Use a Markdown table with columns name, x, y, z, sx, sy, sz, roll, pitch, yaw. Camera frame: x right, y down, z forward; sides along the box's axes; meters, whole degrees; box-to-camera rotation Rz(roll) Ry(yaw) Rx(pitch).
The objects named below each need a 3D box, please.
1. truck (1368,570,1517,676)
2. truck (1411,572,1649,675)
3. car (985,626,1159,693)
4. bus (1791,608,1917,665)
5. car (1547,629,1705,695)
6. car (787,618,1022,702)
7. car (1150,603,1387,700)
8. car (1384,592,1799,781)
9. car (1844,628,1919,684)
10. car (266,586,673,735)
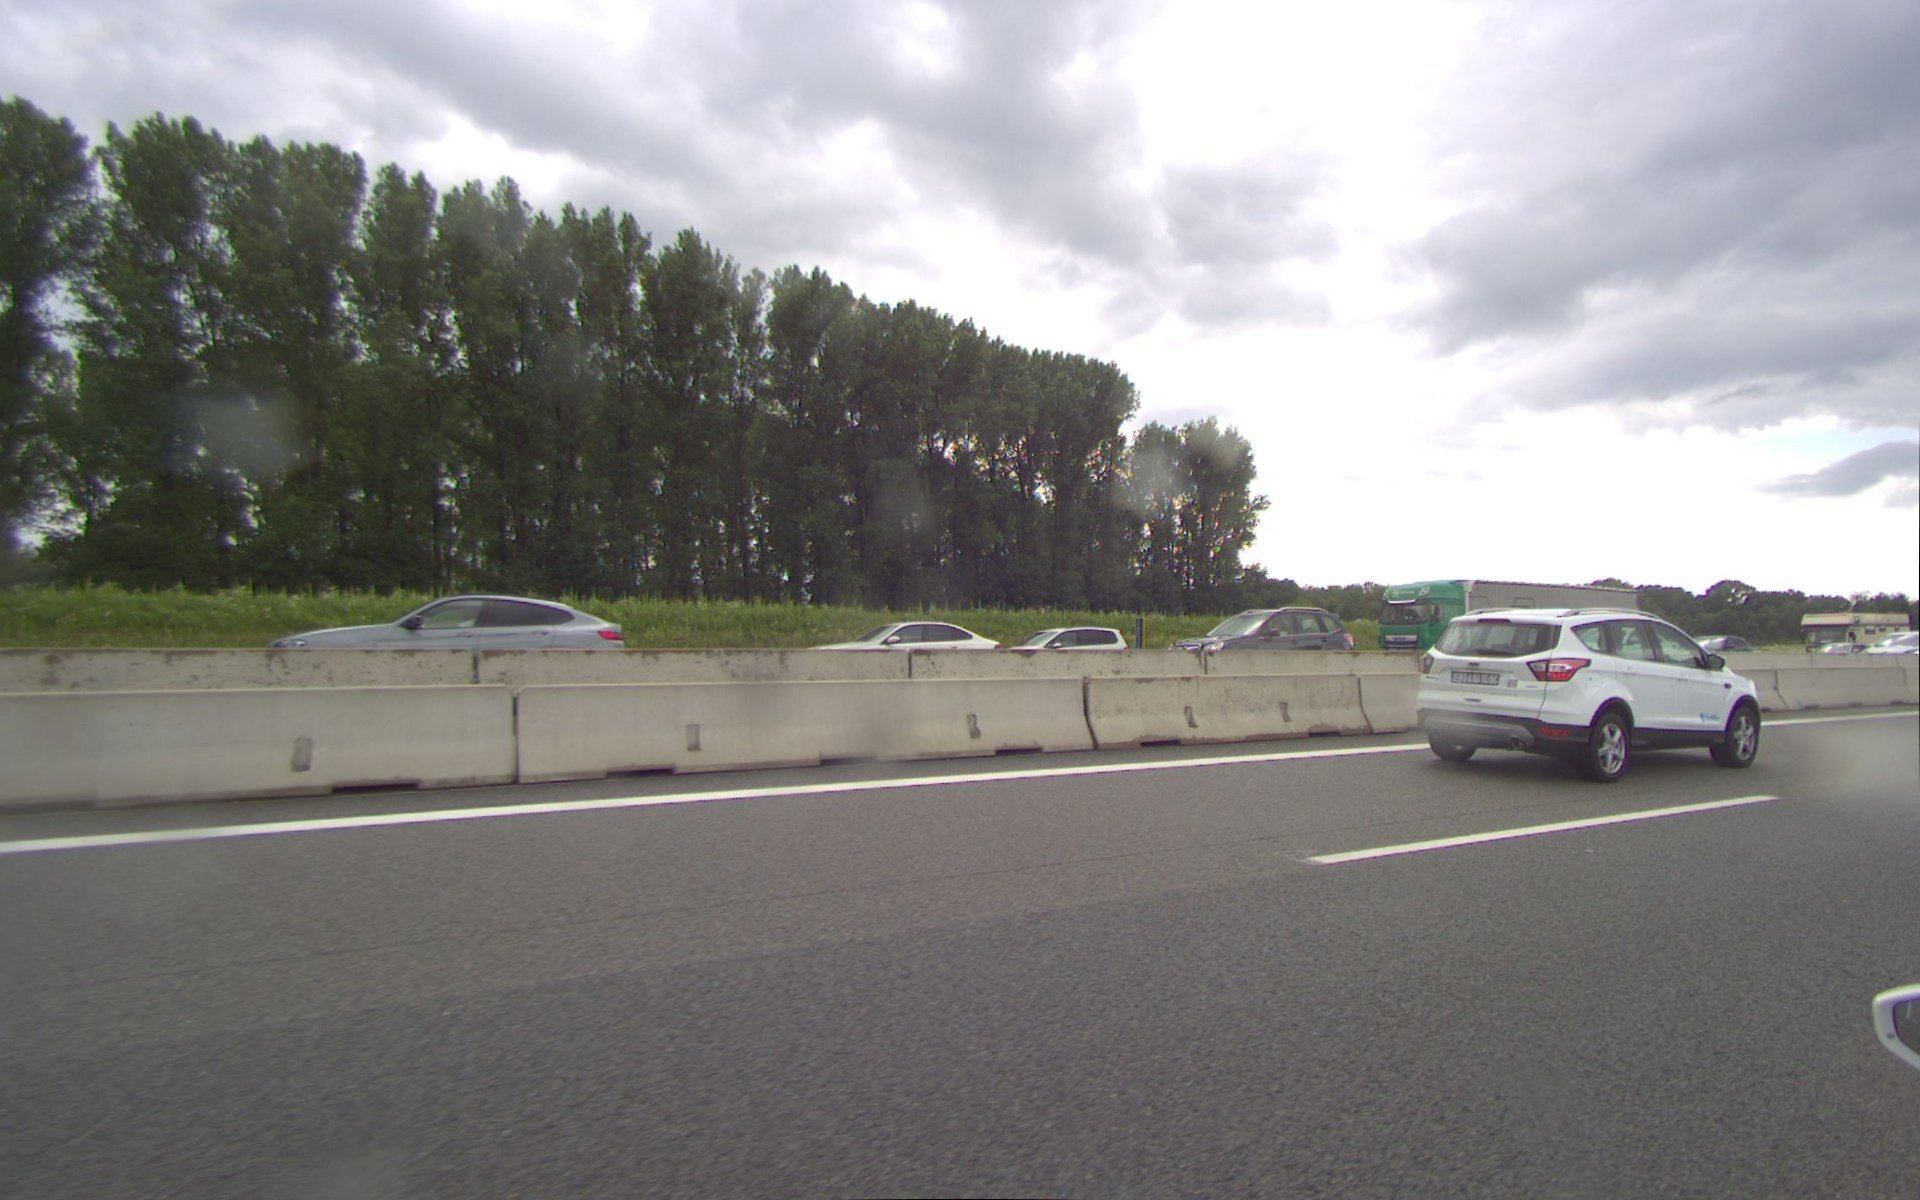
| name | x | y | z | sx | sy | sz | roll | pitch | yaw |
| --- | --- | --- | --- | --- | --- | --- | --- | --- | --- |
| truck | 21.103 | 1.038 | 43.950 | 5.838 | 4.338 | 3.105 | 2 | -2 | -29 |
| truck | 27.118 | 1.210 | 47.366 | 13.783 | 4.370 | 3.134 | 2 | -1 | -29 |
| car | 3.396 | 1.735 | 30.189 | 5.016 | 1.877 | 1.985 | 1 | -1 | -29 |
| bus | 57.041 | 2.338 | 64.033 | 9.839 | 3.376 | 2.820 | 2 | -1 | -28 |
| car | 20.370 | 1.835 | 30.683 | 5.016 | 1.877 | 1.985 | 1 | -1 | -29 |
| car | -1.225 | 1.313 | 22.891 | 5.016 | 1.726 | 1.985 | 1 | -1 | -29 |
| car | 6.807 | 1.089 | 21.997 | 5.124 | 1.923 | 1.985 | 2 | -1 | -29 |
| car | 7.026 | 0.845 | 11.059 | 4.793 | 1.712 | 1.807 | 1 | -1 | -29 |
| car | 36.781 | 2.141 | 39.177 | 4.705 | 2.040 | 1.985 | 2 | -1 | -29 |
| car | -7.114 | 0.845 | 14.985 | 5.126 | 1.910 | 1.984 | 2 | -1 | -30 |
